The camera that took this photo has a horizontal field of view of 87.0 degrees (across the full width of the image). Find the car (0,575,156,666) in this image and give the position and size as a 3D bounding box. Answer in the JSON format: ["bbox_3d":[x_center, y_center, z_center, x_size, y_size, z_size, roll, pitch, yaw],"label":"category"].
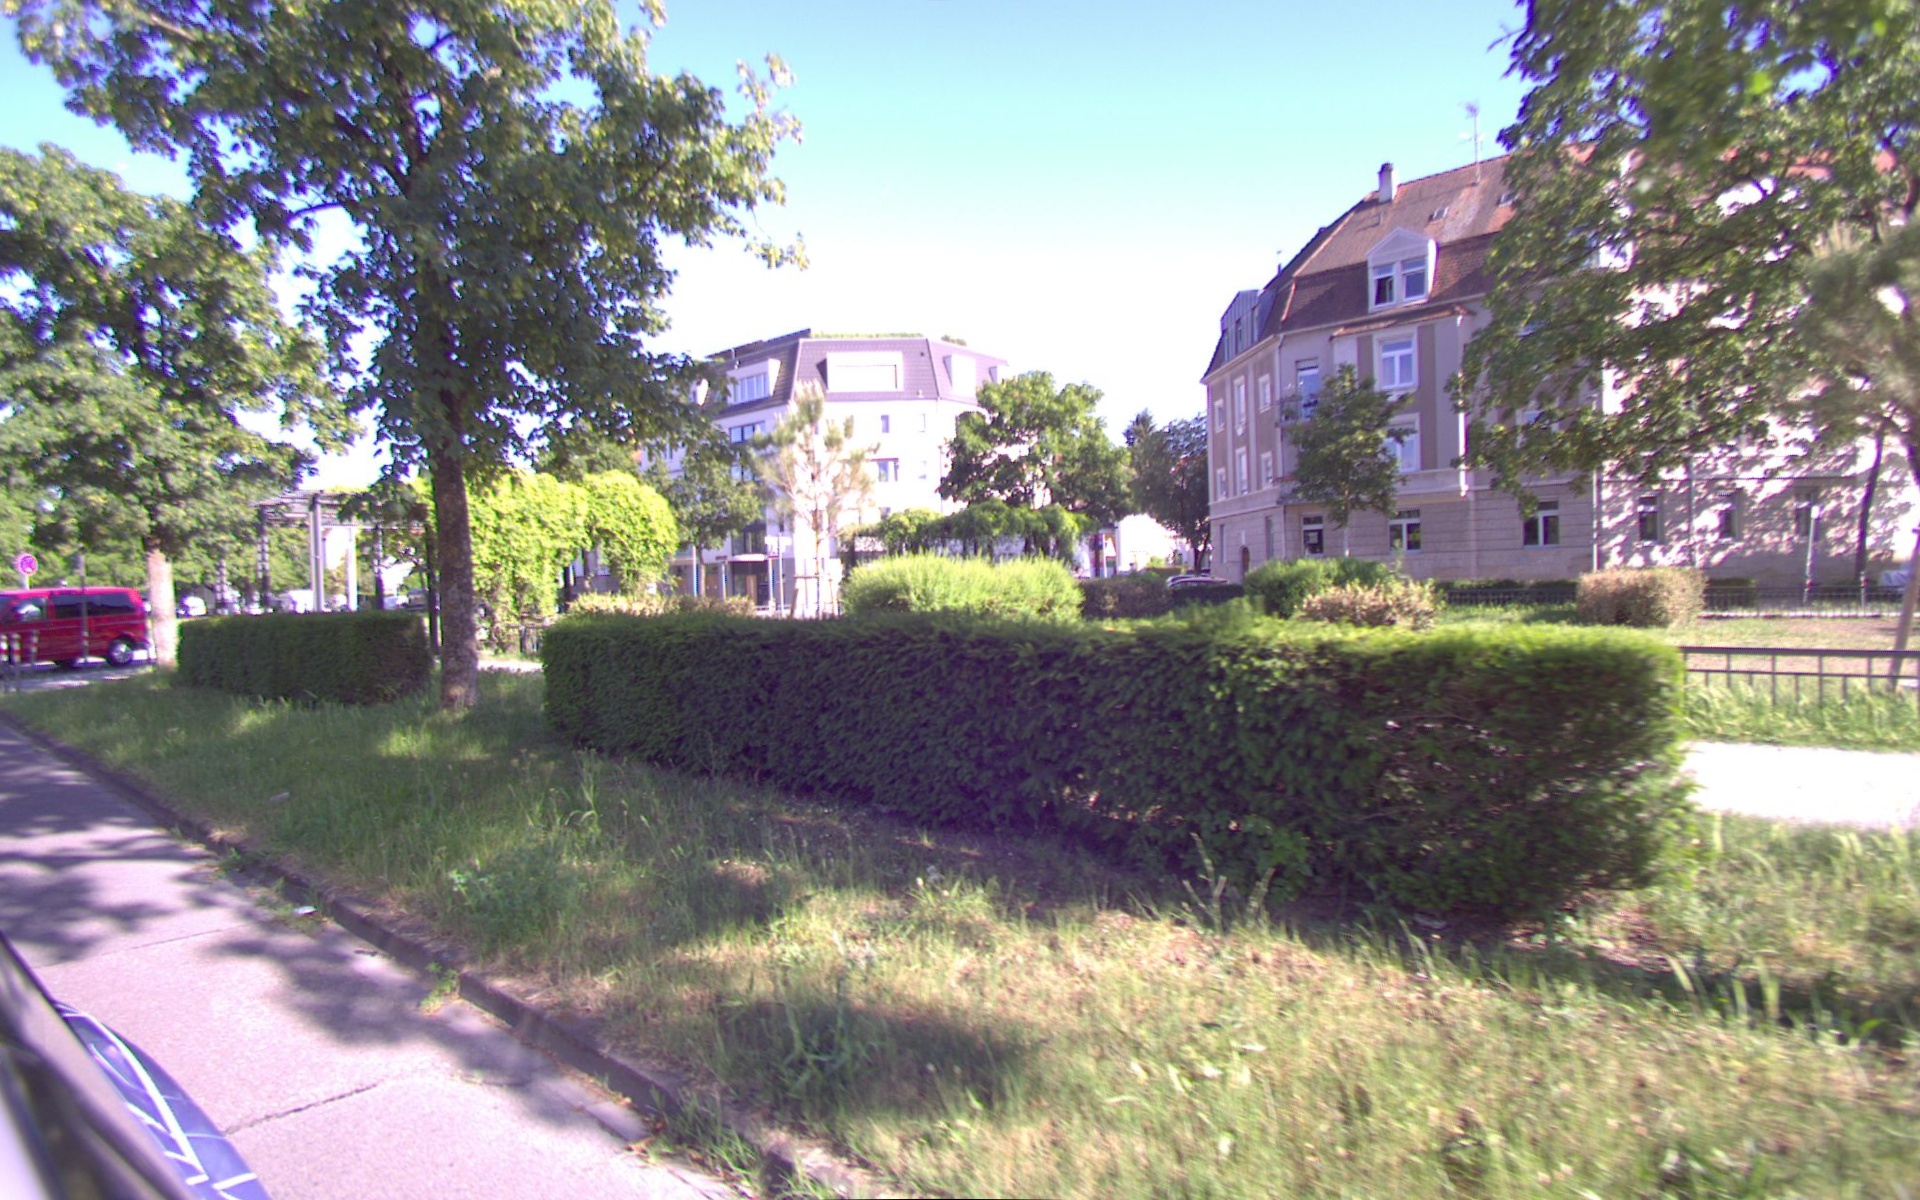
[{"bbox_3d":[-22.303,0.449,24.078,2.070,2.027,4.831,-1,2,9],"label":"car"}]

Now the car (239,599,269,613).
[{"bbox_3d":[-78.034,0.674,111.906,3.998,1.521,1.776,0,1,41],"label":"car"}]

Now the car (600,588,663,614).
[{"bbox_3d":[-19.784,0.053,60.928,3.998,1.521,1.776,0,1,41],"label":"car"}]

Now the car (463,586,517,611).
[{"bbox_3d":[-33.872,-0.105,72.849,4.407,1.706,2.029,0,1,44],"label":"car"}]

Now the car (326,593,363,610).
[{"bbox_3d":[-56.244,0.159,92.458,3.998,1.521,1.776,0,1,41],"label":"car"}]

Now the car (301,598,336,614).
[{"bbox_3d":[-61.833,0.563,97.497,3.998,1.521,1.776,0,1,41],"label":"car"}]

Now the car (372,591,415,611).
[{"bbox_3d":[-47.769,0.112,85.290,4.403,1.625,1.776,0,1,41],"label":"car"}]

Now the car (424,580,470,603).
[{"bbox_3d":[-39.742,-0.674,78.299,3.998,1.687,1.776,0,1,41],"label":"car"}]
